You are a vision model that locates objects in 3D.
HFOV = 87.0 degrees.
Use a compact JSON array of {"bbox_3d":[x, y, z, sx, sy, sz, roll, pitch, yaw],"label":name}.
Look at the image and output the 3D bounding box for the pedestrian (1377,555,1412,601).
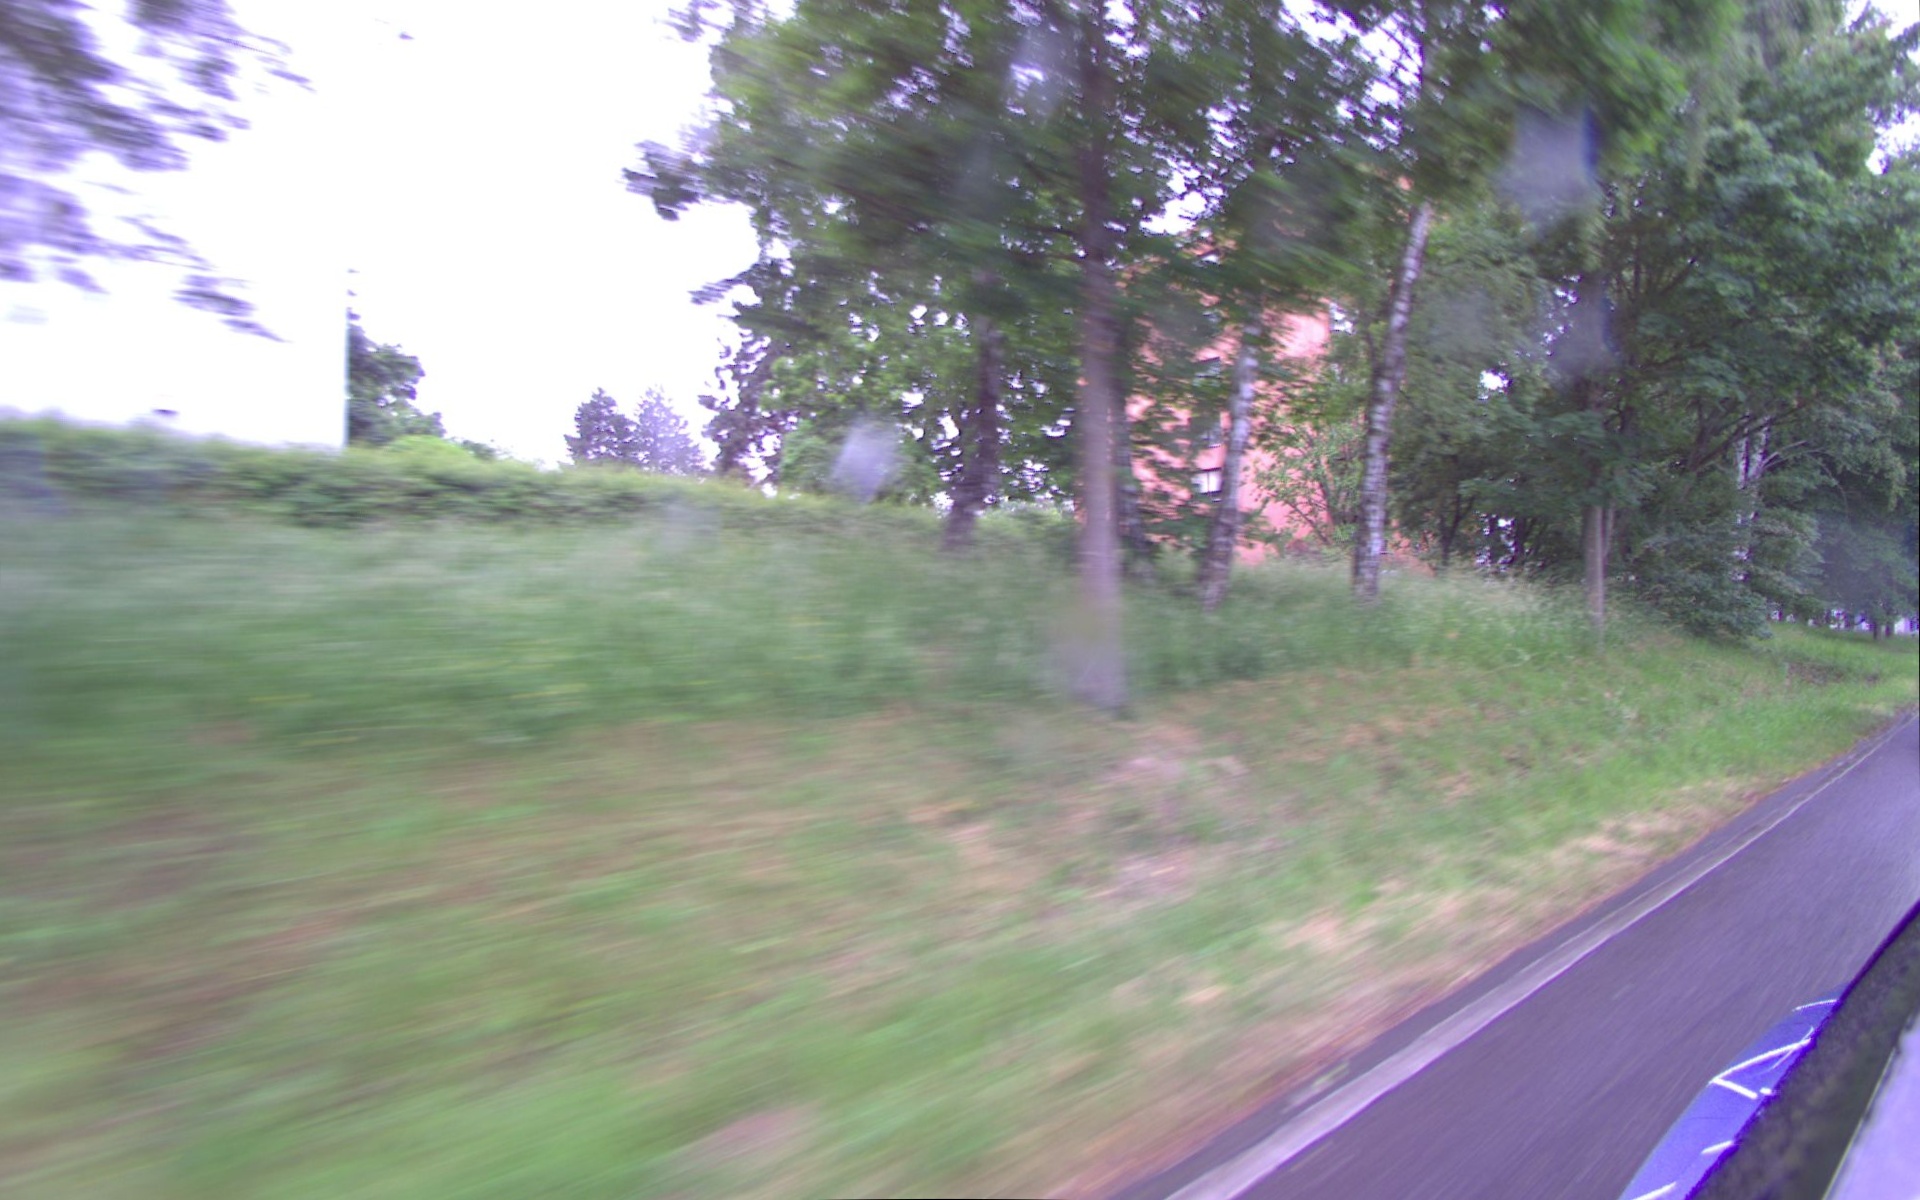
[{"bbox_3d":[12.531,-0.631,29.199,0.613,1.300,0.656,2,0,-39],"label":"pedestrian"}]
